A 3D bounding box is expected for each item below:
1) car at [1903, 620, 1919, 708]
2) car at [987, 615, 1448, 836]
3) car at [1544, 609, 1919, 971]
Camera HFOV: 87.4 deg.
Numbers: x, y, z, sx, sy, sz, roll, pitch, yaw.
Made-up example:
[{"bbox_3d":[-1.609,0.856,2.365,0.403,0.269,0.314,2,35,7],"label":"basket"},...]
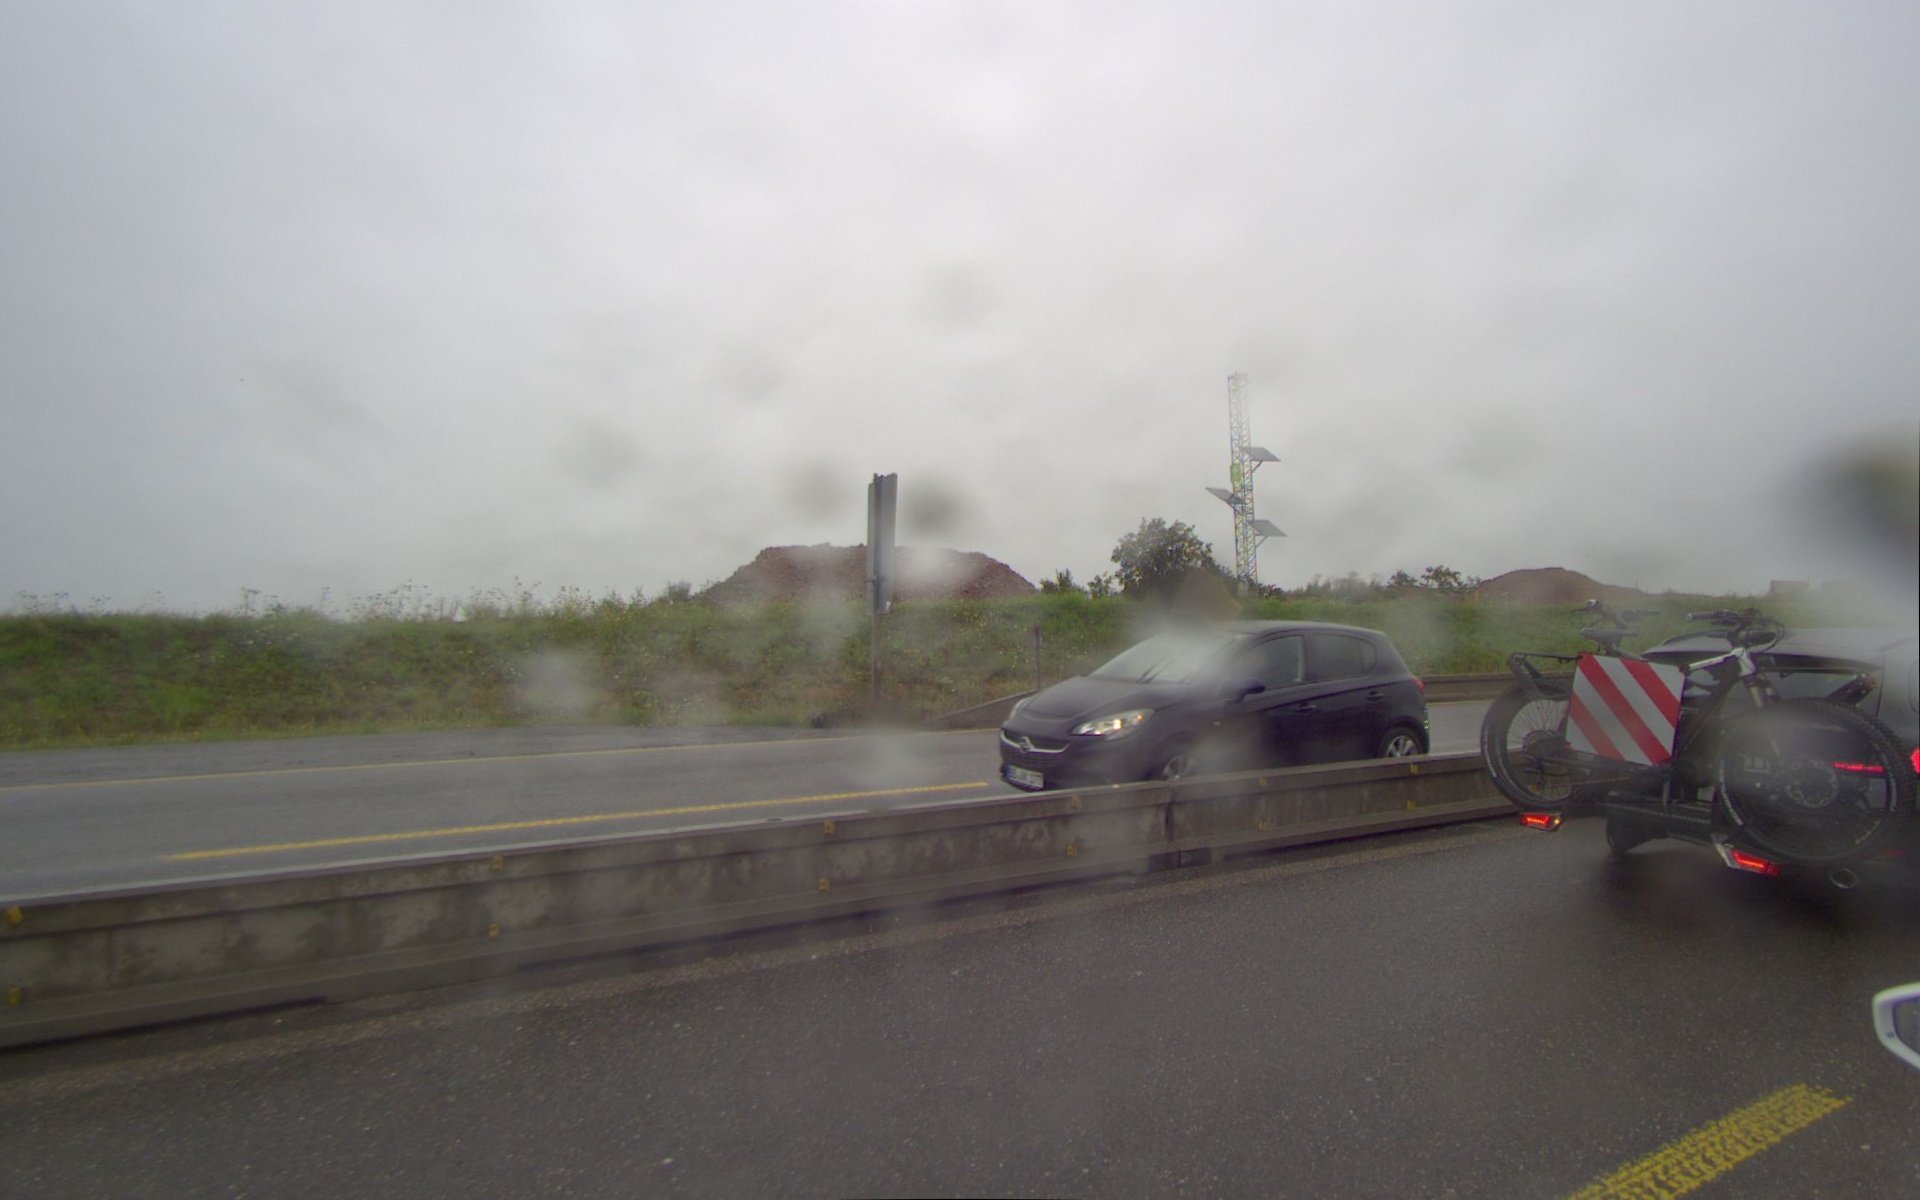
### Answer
[{"bbox_3d":[20.085,1.219,19.029,4.836,1.606,1.909,1,0,-30],"label":"car"},{"bbox_3d":[2.231,0.894,8.528,3.687,1.485,1.658,1,0,-30],"label":"car"},{"bbox_3d":[6.165,0.841,6.432,5.563,1.482,1.726,-1,0,-31],"label":"car"}]
